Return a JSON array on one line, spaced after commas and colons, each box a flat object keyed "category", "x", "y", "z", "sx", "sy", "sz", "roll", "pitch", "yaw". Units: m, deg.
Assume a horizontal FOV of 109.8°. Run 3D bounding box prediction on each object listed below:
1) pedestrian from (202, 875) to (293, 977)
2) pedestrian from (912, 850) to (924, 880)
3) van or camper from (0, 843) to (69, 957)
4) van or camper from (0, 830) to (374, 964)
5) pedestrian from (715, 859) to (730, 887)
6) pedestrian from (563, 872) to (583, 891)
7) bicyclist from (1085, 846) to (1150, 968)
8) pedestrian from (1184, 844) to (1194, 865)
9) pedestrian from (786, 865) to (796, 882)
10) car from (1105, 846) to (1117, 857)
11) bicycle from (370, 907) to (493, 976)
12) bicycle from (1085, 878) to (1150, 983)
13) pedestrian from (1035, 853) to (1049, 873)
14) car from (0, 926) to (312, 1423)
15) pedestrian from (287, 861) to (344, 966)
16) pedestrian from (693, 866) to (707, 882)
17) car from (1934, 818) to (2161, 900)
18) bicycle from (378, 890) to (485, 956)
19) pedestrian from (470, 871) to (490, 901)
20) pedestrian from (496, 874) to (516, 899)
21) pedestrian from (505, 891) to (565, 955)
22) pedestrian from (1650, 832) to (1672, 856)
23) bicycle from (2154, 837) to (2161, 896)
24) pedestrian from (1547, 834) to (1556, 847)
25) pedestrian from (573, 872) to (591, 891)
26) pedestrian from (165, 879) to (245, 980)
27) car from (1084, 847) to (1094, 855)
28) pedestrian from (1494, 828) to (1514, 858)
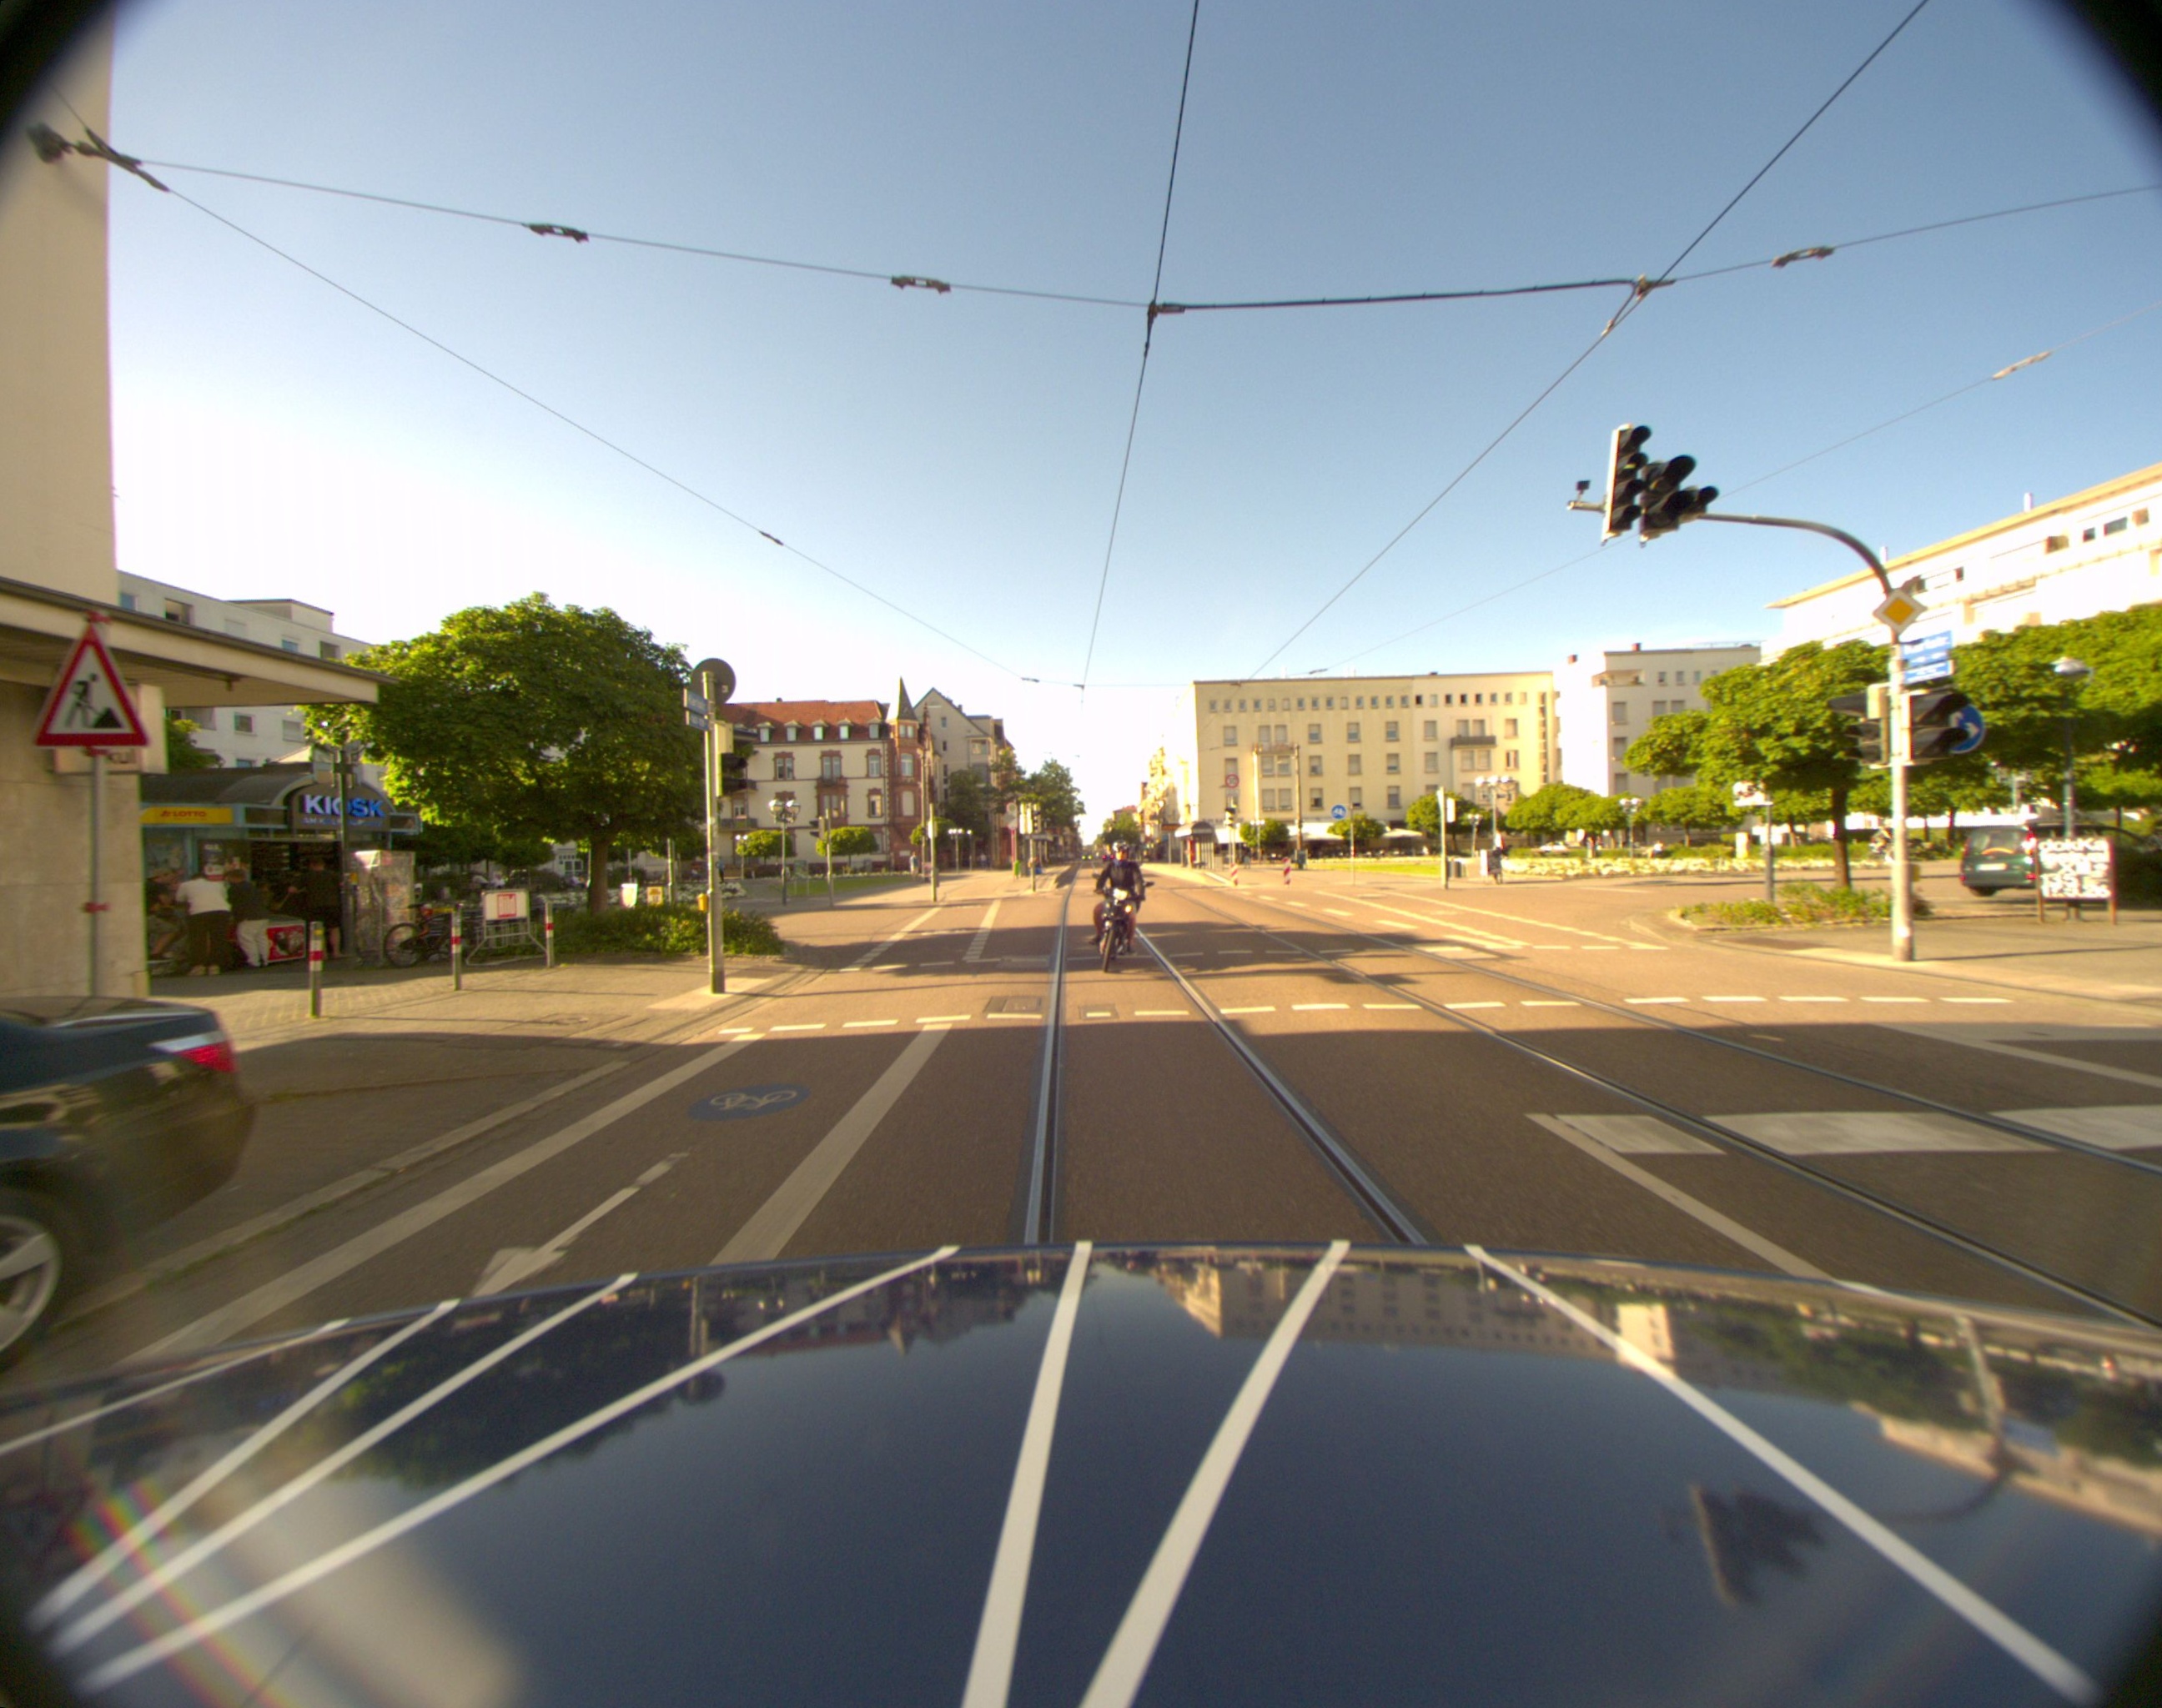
[{"category": "pedestrian", "x": -13.740, "y": 1.171, "z": 12.542, "sx": 0.615, "sy": 1.594, "sz": 0.744, "roll": -2, "pitch": 1, "yaw": 1}, {"category": "pedestrian", "x": -10.516, "y": 0.718, "z": 49.101, "sx": 0.650, "sy": 1.944, "sz": 0.583, "roll": -2, "pitch": 1, "yaw": -16}, {"category": "van or camper", "x": -30.178, "y": 1.249, "z": 18.670, "sx": 6.927, "sy": 2.797, "sz": 2.922, "roll": -2, "pitch": 1, "yaw": 3}, {"category": "van or camper", "x": -21.438, "y": 0.968, "z": 18.183, "sx": 6.929, "sy": 2.797, "sz": 2.219, "roll": -2, "pitch": 1, "yaw": 1}, {"category": "pedestrian", "x": -21.325, "y": 1.123, "z": 45.171, "sx": 0.650, "sy": 1.592, "sz": 0.700, "roll": -3, "pitch": 1, "yaw": -35}, {"category": "pedestrian", "x": -31.549, "y": 1.723, "z": 47.168, "sx": 0.768, "sy": 1.144, "sz": 0.637, "roll": -2, "pitch": 1, "yaw": -8}, {"category": "bicyclist", "x": 0.485, "y": 0.670, "z": 10.132, "sx": 0.774, "sy": 1.531, "sz": 0.939, "roll": -2, "pitch": 1, "yaw": 2}, {"category": "pedestrian", "x": 7.970, "y": 0.033, "z": 56.045, "sx": 0.551, "sy": 1.482, "sz": 0.610, "roll": -2, "pitch": 1, "yaw": -6}, {"category": "pedestrian", "x": -18.591, "y": 1.248, "z": 48.772, "sx": 0.453, "sy": 1.076, "sz": 0.449, "roll": -3, "pitch": 1, "yaw": -39}, {"category": "car", "x": 4.871, "y": -0.396, "z": 123.175, "sx": 1.970, "sy": 1.577, "sz": 4.000, "roll": -2, "pitch": 1, "yaw": 3}, {"category": "bicycle", "x": -9.777, "y": 1.315, "z": 11.449, "sx": 1.666, "sy": 0.979, "sz": 0.359, "roll": -2, "pitch": 1, "yaw": 8}, {"category": "bicycle", "x": 0.495, "y": 0.974, "z": 10.243, "sx": 0.767, "sy": 1.192, "sz": 1.752, "roll": -2, "pitch": 1, "yaw": 3}, {"category": "pedestrian", "x": -2.522, "y": 0.574, "z": 49.024, "sx": 0.774, "sy": 1.197, "sz": 0.610, "roll": -2, "pitch": 1, "yaw": -8}, {"category": "car", "x": -4.434, "y": 1.109, "z": 0.990, "sx": 1.752, "sy": 1.499, "sz": 4.919, "roll": 1, "pitch": 1, "yaw": 2}, {"category": "pedestrian", "x": -13.479, "y": 1.024, "z": 13.388, "sx": 0.553, "sy": 1.778, "sz": 0.540, "roll": -2, "pitch": 1, "yaw": -33}, {"category": "pedestrian", "x": -31.399, "y": 1.666, "z": 62.608, "sx": 0.710, "sy": 1.285, "sz": 0.679, "roll": -2, "pitch": 1, "yaw": -1}, {"category": "car", "x": 22.792, "y": 0.095, "z": 17.662, "sx": 3.989, "sy": 1.700, "sz": 1.677, "roll": -2, "pitch": 1, "yaw": 1}, {"category": "bicycle", "x": -14.939, "y": 1.587, "z": 17.483, "sx": 2.072, "sy": 1.415, "sz": 0.555, "roll": -2, "pitch": 1, "yaw": 6}, {"category": "pedestrian", "x": -31.315, "y": 1.650, "z": 39.613, "sx": 0.561, "sy": 1.534, "sz": 0.554, "roll": -2, "pitch": 1, "yaw": -10}, {"category": "pedestrian", "x": -31.199, "y": 1.756, "z": 41.262, "sx": 0.561, "sy": 1.266, "sz": 0.700, "roll": -2, "pitch": 1, "yaw": -10}, {"category": "pedestrian", "x": -10.811, "y": 1.355, "z": 15.047, "sx": 0.734, "sy": 1.206, "sz": 0.551, "roll": -2, "pitch": 1, "yaw": 8}, {"category": "pedestrian", "x": 36.204, "y": -0.619, "z": 47.412, "sx": 0.838, "sy": 1.410, "sz": 0.667, "roll": -2, "pitch": 1, "yaw": -1}, {"category": "bicycle", "x": 20.842, "y": 0.248, "z": 13.328, "sx": 0.628, "sy": 1.118, "sz": 2.437, "roll": -2, "pitch": 1, "yaw": 1}, {"category": "pedestrian", "x": 42.221, "y": -1.220, "z": 68.163, "sx": 0.506, "sy": 1.215, "sz": 0.395, "roll": -2, "pitch": 1, "yaw": 6}, {"category": "pedestrian", "x": -31.554, "y": 1.720, "z": 48.038, "sx": 0.717, "sy": 1.144, "sz": 0.637, "roll": -2, "pitch": 1, "yaw": -8}, {"category": "pedestrian", "x": -14.383, "y": 1.221, "z": 12.485, "sx": 0.552, "sy": 1.594, "sz": 0.591, "roll": -2, "pitch": 1, "yaw": 1}, {"category": "car", "x": 1.770, "y": -0.540, "z": 159.174, "sx": 1.970, "sy": 1.577, "sz": 4.000, "roll": -2, "pitch": 1, "yaw": 1}, {"category": "pedestrian", "x": 24.545, "y": -0.620, "z": 44.071, "sx": 0.669, "sy": 1.686, "sz": 0.837, "roll": -3, "pitch": 2, "yaw": -45}]
